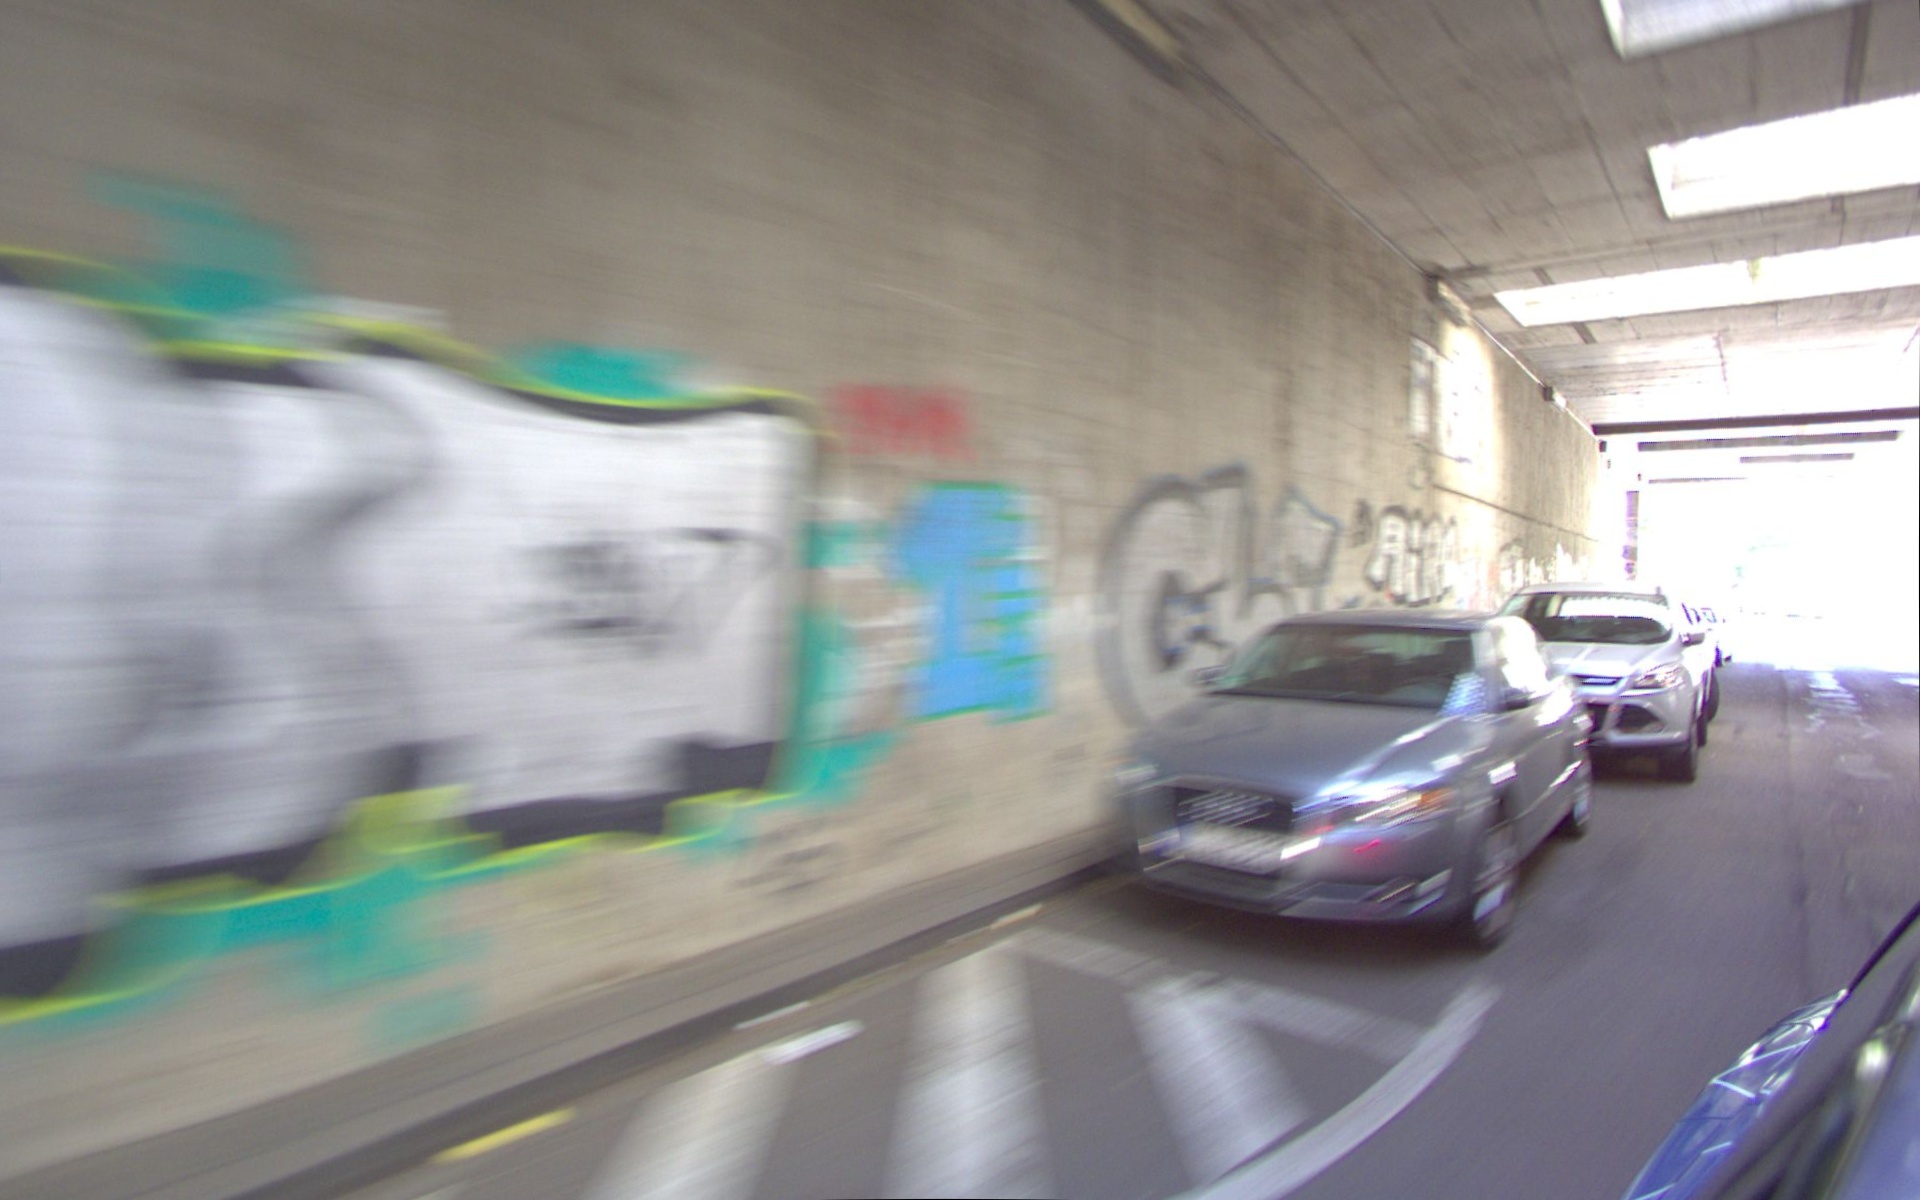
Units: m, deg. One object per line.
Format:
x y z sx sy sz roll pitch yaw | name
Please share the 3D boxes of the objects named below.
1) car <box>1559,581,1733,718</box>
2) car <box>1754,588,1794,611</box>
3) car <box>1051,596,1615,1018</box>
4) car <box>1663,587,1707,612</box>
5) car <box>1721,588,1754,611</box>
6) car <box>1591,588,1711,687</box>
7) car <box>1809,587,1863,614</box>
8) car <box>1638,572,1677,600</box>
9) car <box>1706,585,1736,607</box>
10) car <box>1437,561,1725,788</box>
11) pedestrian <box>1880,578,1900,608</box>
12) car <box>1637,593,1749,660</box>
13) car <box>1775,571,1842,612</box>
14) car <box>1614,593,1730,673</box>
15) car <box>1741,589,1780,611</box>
9.511 0.534 13.976 1.725 1.565 4.102 2 2 36 | car
59.977 -0.055 74.635 1.681 1.576 3.782 1 2 30 | car
2.406 0.694 5.664 1.698 1.391 4.312 1 1 39 | car
47.088 0.001 65.788 1.764 1.459 3.959 5 2 29 | car
67.475 -0.064 87.899 1.763 1.905 3.956 1 1 31 | car
12.283 0.577 18.021 1.598 1.506 3.593 2 2 35 | car
51.333 -0.007 59.369 1.679 1.480 3.958 1 2 30 | car
54.036 -1.056 78.477 1.979 2.055 4.259 1 0 29 | car
70.509 -0.401 93.769 1.763 1.905 3.956 1 2 31 | car
6.164 0.541 9.793 1.850 1.687 4.309 1 0 39 | car
49.818 -0.362 54.208 0.520 1.596 0.635 0 1 -26 | pedestrian
18.188 0.597 25.030 1.849 1.451 4.539 -1 1 41 | car
54.087 -0.576 64.633 2.200 2.481 5.046 1 1 28 | car
14.990 0.611 21.228 1.758 1.428 4.007 2 2 38 | car
62.003 -0.036 78.439 1.771 1.576 3.782 1 2 30 | car
